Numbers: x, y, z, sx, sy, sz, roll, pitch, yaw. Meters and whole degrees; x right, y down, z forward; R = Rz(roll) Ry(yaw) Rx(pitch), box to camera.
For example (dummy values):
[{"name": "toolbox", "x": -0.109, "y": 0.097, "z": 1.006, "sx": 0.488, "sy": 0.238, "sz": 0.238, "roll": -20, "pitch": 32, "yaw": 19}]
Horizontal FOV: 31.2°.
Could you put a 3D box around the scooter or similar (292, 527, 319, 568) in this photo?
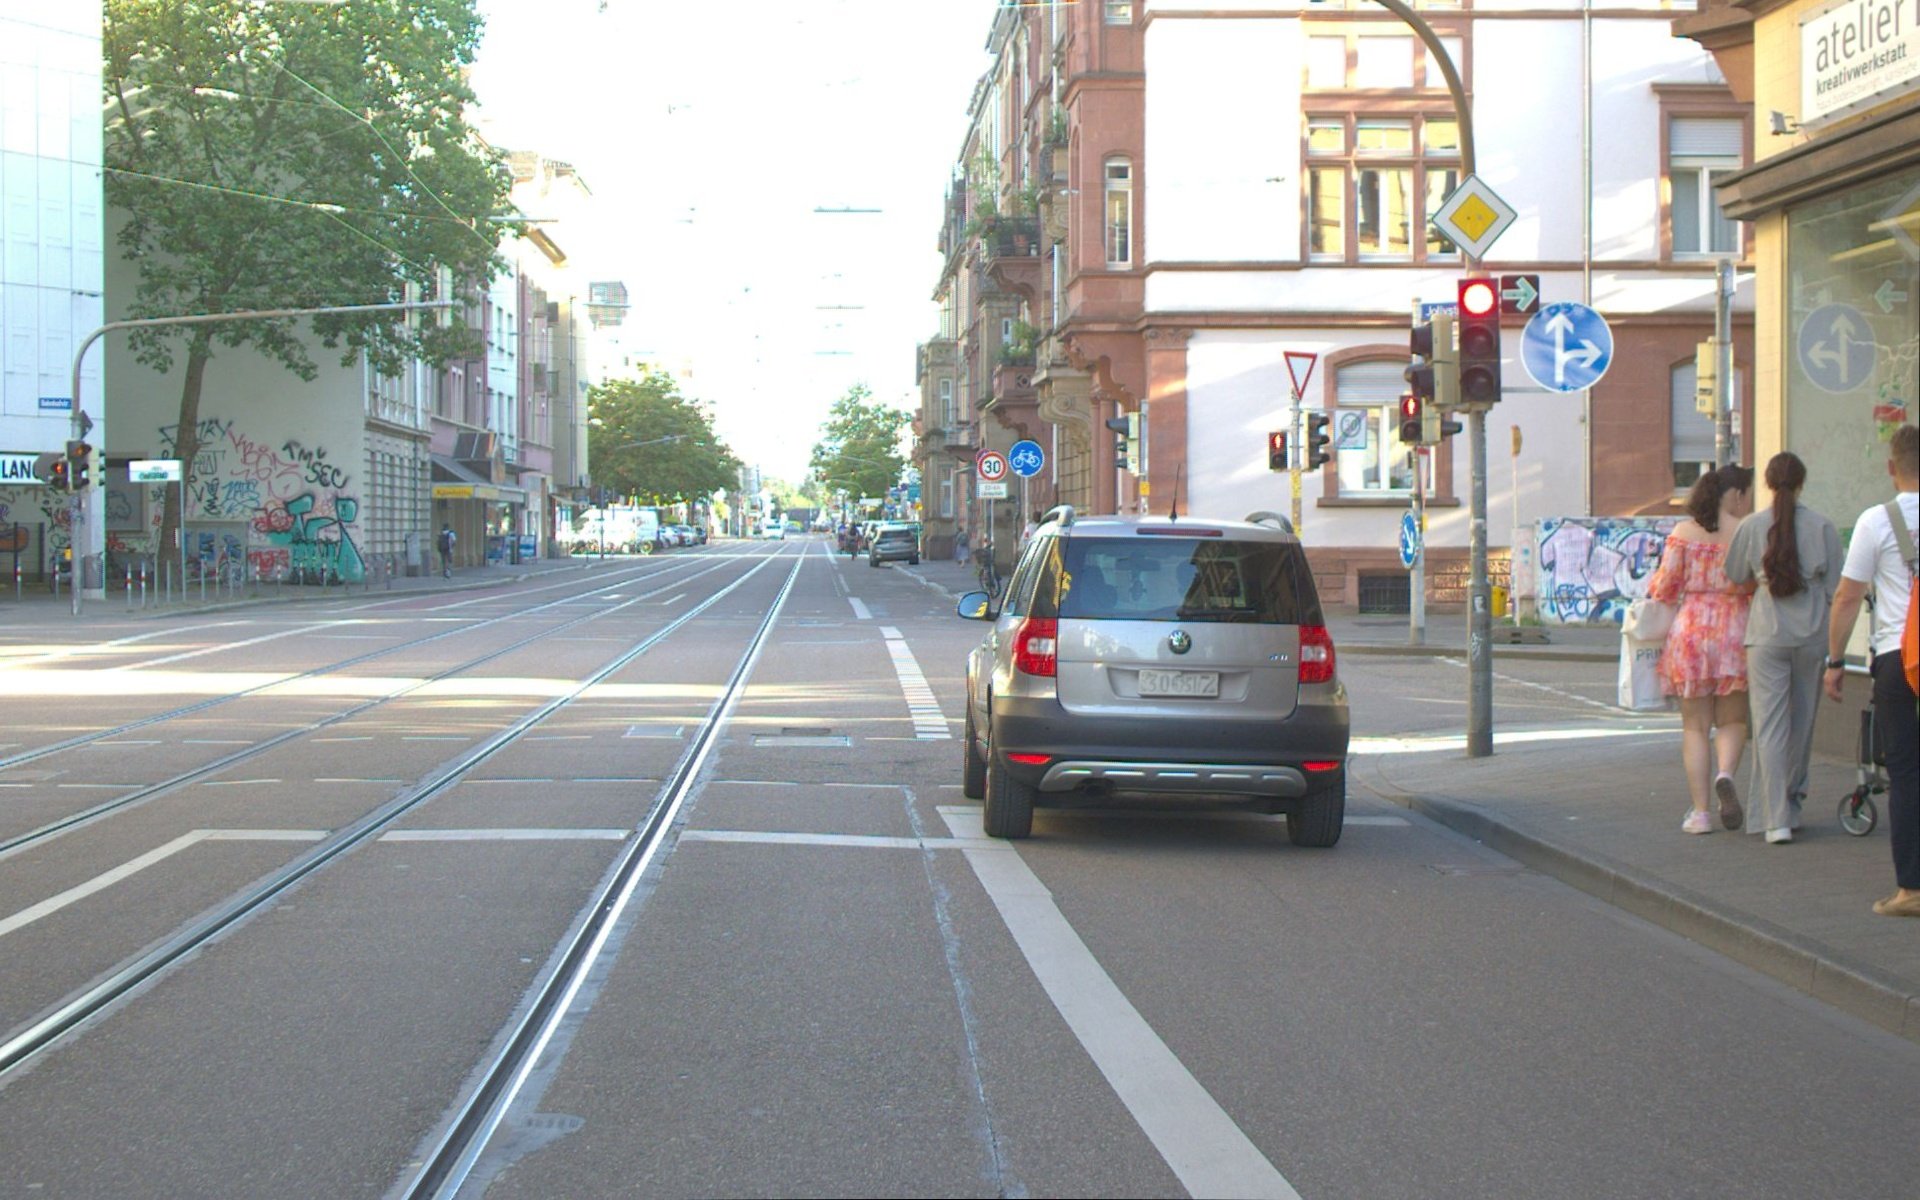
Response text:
[{"name": "scooter or similar", "x": -17.053, "y": -1.371, "z": 89.554, "sx": 0.516, "sy": 1.042, "sz": 1.479, "roll": -1, "pitch": 1, "yaw": -4}]

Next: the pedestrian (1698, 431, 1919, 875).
[{"name": "pedestrian", "x": 3.817, "y": 0.224, "z": 15.455, "sx": 0.690, "sy": 1.902, "sz": 0.670, "roll": -5, "pitch": 2, "yaw": -3}]

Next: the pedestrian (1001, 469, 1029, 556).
[{"name": "pedestrian", "x": 1.128, "y": -1.794, "z": 70.577, "sx": 0.544, "sy": 1.774, "sz": 0.504, "roll": 0, "pitch": 1, "yaw": -1}]

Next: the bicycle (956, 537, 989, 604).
[{"name": "bicycle", "x": 0.250, "y": -0.602, "z": 69.575, "sx": 0.653, "sy": 1.319, "sz": 2.177, "roll": 0, "pitch": 1, "yaw": 0}]

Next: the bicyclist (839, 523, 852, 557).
[{"name": "bicyclist", "x": -5.246, "y": -2.766, "z": 157.760, "sx": 0.575, "sy": 1.548, "sz": 0.595, "roll": 0, "pitch": 1, "yaw": -1}]

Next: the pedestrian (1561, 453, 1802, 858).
[{"name": "pedestrian", "x": 3.363, "y": 0.240, "z": 16.079, "sx": 0.805, "sy": 1.793, "sz": 0.762, "roll": -5, "pitch": 2, "yaw": -3}]

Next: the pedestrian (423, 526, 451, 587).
[{"name": "pedestrian", "x": -14.862, "y": -1.245, "z": 97.655, "sx": 0.701, "sy": 1.722, "sz": 0.648, "roll": -1, "pitch": 1, "yaw": -2}]

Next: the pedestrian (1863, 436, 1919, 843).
[{"name": "pedestrian", "x": 4.590, "y": 0.150, "z": 15.289, "sx": 0.805, "sy": 1.793, "sz": 0.762, "roll": -5, "pitch": 2, "yaw": -2}]

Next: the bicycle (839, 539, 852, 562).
[{"name": "bicycle", "x": -5.239, "y": -2.292, "z": 157.777, "sx": 0.575, "sy": 1.026, "sz": 1.895, "roll": 0, "pitch": 1, "yaw": -1}]

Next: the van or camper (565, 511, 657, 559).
[{"name": "van or camper", "x": -19.117, "y": -3.560, "z": 188.470, "sx": 4.635, "sy": 2.554, "sz": 2.000, "roll": -1, "pitch": 1, "yaw": -33}]

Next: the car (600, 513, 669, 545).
[{"name": "car", "x": -21.193, "y": -4.645, "z": 223.955, "sx": 3.986, "sy": 2.007, "sz": 2.000, "roll": -1, "pitch": 2, "yaw": -27}]

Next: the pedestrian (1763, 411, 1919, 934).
[{"name": "pedestrian", "x": 3.534, "y": 0.215, "z": 12.480, "sx": 0.805, "sy": 1.793, "sz": 1.092, "roll": -5, "pitch": 2, "yaw": -3}]

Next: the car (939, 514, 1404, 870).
[{"name": "car", "x": 0.995, "y": 0.392, "z": 18.354, "sx": 1.993, "sy": 1.612, "sz": 4.001, "roll": 2, "pitch": 1, "yaw": -3}]

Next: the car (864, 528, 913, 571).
[{"name": "car", "x": -2.869, "y": -2.038, "z": 138.716, "sx": 1.950, "sy": 1.678, "sz": 4.000, "roll": 0, "pitch": 1, "yaw": -1}]

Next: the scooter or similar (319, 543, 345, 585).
[{"name": "scooter or similar", "x": -16.369, "y": -0.938, "z": 89.623, "sx": 0.516, "sy": 1.053, "sz": 1.479, "roll": -1, "pitch": 1, "yaw": -4}]
